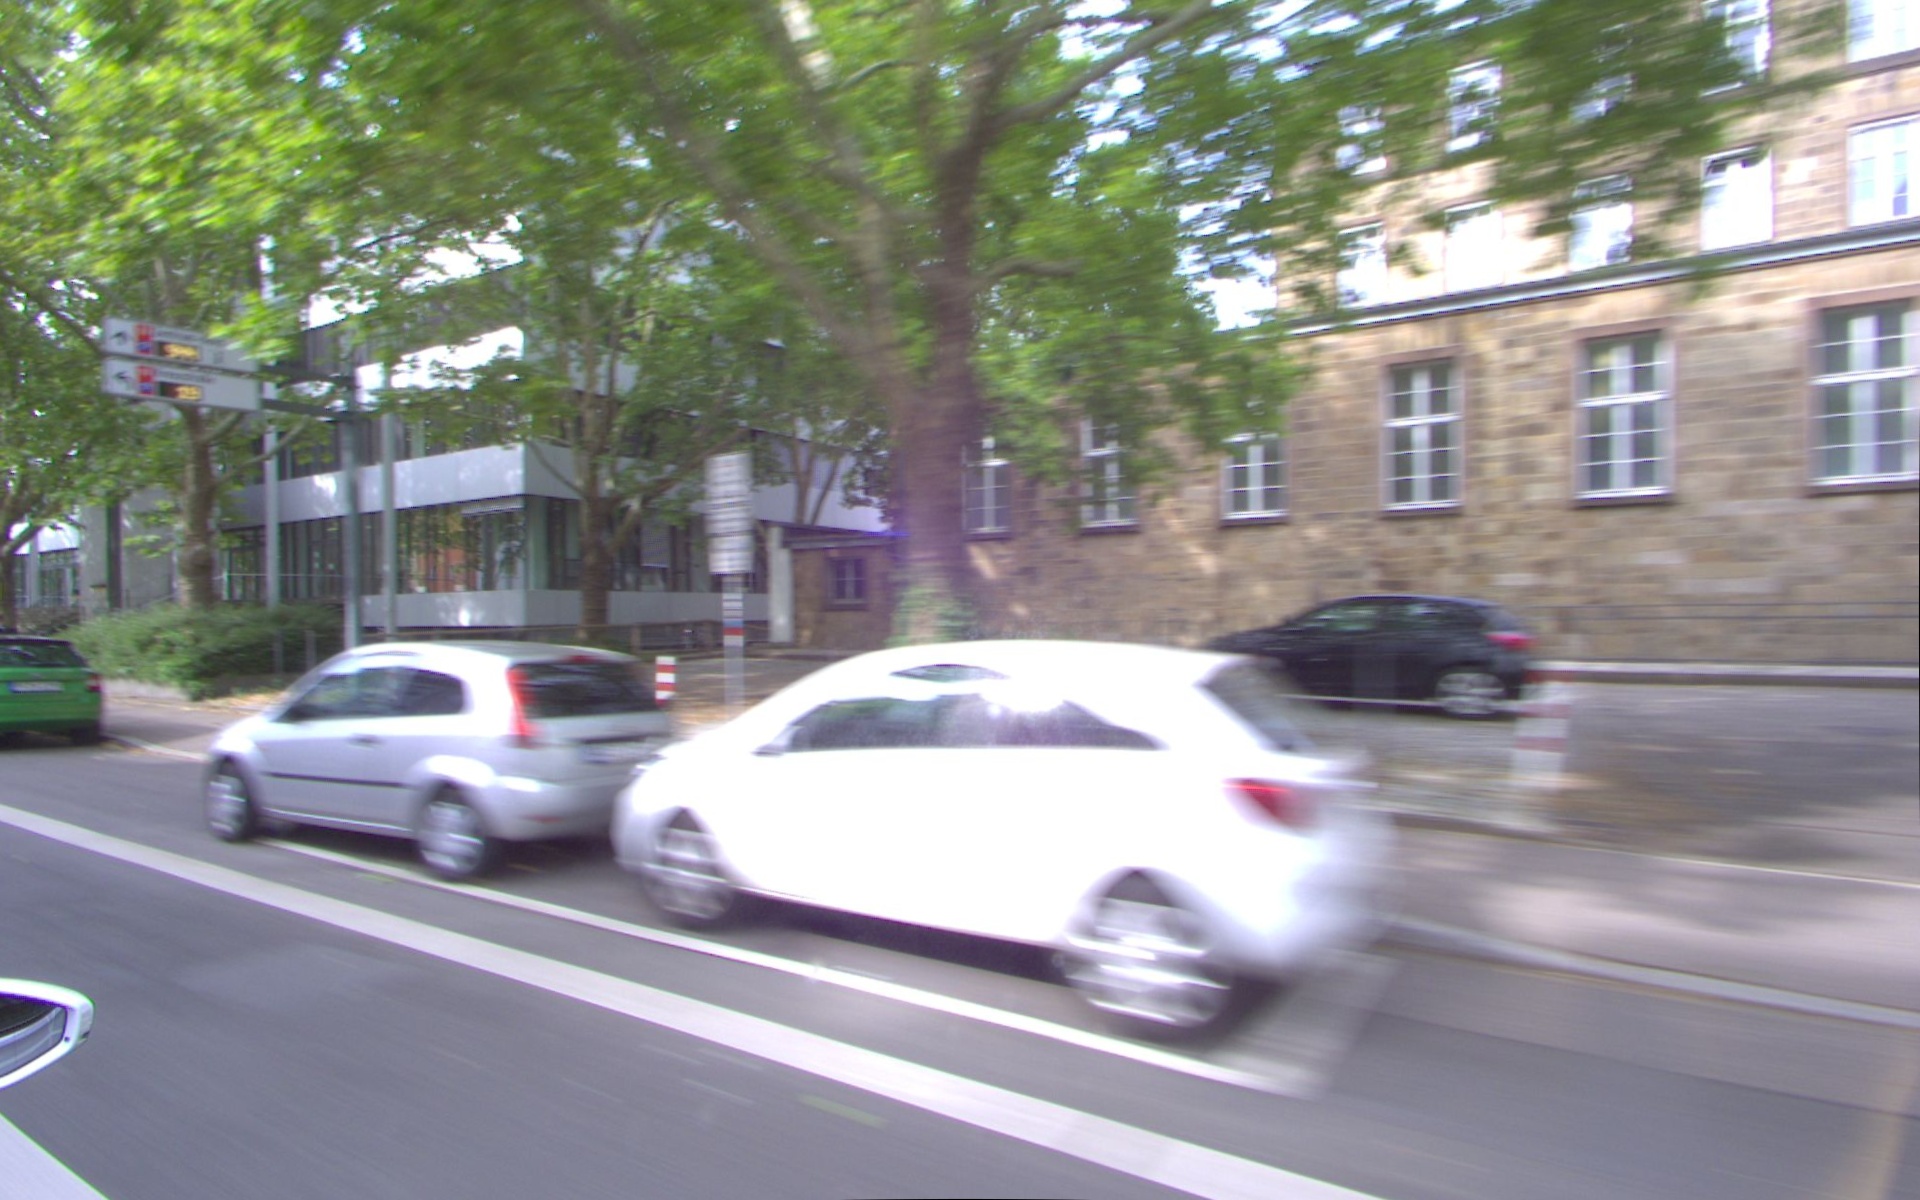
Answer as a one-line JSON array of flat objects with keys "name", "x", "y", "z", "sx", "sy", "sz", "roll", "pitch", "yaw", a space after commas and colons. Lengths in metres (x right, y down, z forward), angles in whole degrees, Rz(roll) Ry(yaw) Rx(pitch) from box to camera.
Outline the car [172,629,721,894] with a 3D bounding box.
[{"name": "car", "x": -3.773, "y": 0.972, "z": 7.279, "sx": 3.822, "sy": 1.465, "sz": 1.643, "roll": 0, "pitch": -2, "yaw": 28}]

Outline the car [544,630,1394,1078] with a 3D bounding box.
[{"name": "car", "x": -0.113, "y": 0.924, "z": 5.234, "sx": 4.158, "sy": 1.465, "sz": 1.751, "roll": -1, "pitch": -3, "yaw": 33}]

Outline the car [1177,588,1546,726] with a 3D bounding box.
[{"name": "car", "x": 5.157, "y": 0.650, "z": 13.054, "sx": 4.233, "sy": 1.469, "sz": 1.667, "roll": 2, "pitch": 0, "yaw": 31}]

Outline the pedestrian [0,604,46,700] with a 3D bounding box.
[{"name": "pedestrian", "x": -18.883, "y": 1.030, "z": 20.015, "sx": 0.693, "sy": 1.879, "sz": 0.720, "roll": 0, "pitch": -1, "yaw": 32}]

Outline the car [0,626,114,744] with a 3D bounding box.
[{"name": "car", "x": -13.357, "y": 1.090, "z": 13.638, "sx": 3.748, "sy": 1.467, "sz": 1.586, "roll": -1, "pitch": -3, "yaw": 30}]

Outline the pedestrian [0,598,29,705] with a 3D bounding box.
[{"name": "pedestrian", "x": -18.527, "y": 0.985, "z": 19.201, "sx": 0.739, "sy": 2.023, "sz": 0.792, "roll": 0, "pitch": -1, "yaw": 32}]
